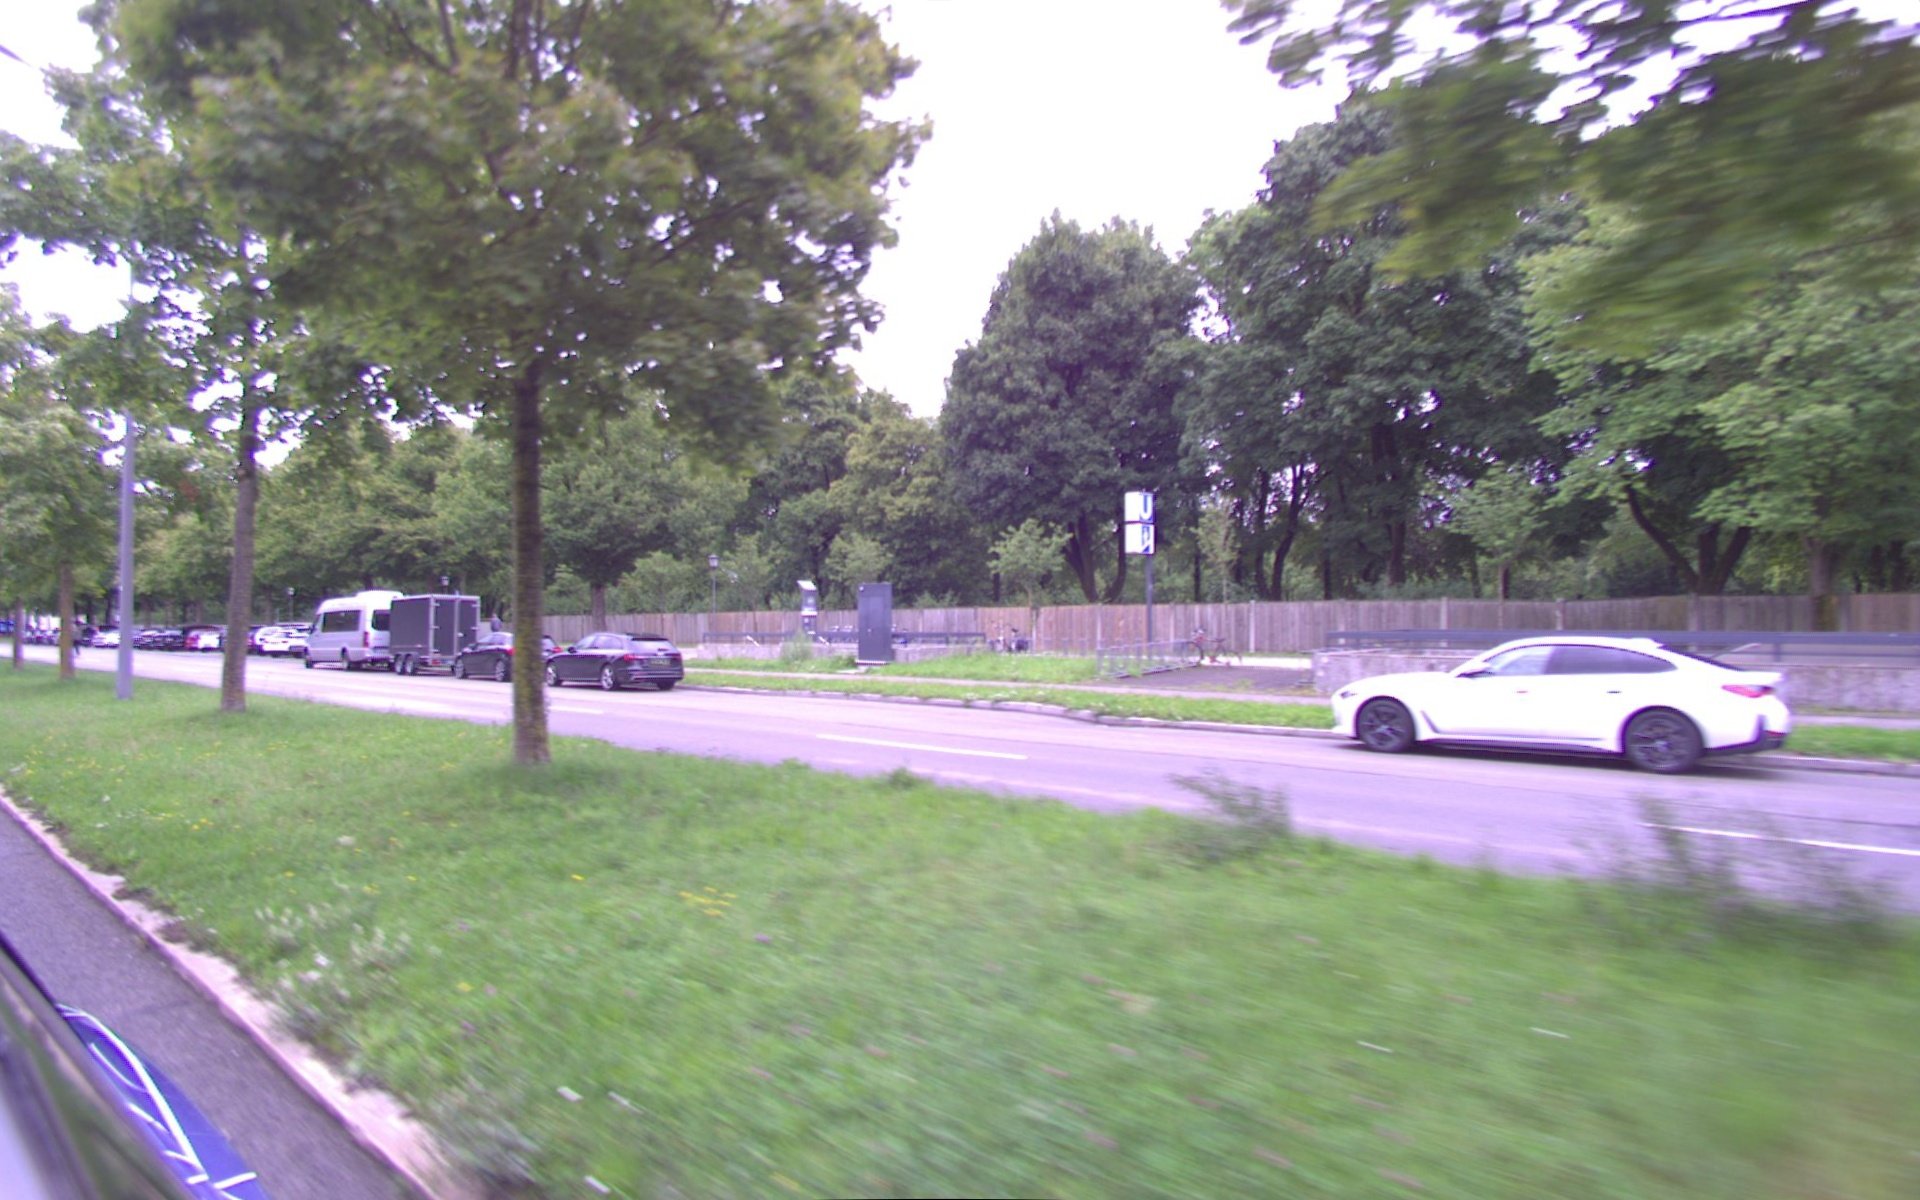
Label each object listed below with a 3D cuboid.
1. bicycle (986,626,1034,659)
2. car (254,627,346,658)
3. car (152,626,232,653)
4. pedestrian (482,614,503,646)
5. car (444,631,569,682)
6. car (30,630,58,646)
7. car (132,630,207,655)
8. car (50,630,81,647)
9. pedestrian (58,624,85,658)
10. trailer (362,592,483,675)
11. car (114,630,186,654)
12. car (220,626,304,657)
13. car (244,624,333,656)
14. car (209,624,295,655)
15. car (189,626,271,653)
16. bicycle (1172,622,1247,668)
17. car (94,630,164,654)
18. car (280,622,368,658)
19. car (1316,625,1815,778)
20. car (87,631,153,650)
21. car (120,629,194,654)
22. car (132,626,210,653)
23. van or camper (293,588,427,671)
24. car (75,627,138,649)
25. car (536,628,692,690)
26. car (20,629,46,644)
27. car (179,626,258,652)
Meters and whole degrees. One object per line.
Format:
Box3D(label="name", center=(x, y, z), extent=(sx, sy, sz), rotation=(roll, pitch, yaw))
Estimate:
Box3D(label="bicycle", center=(1.526, 1.260, 30.409), extent=(0.432, 0.937, 1.801), rotation=(-2, -1, 40))
Box3D(label="car", center=(-34.839, 2.223, 53.565), extent=(1.780, 1.449, 4.316), rotation=(-1, 0, 6))
Box3D(label="car", center=(-51.462, 2.643, 67.913), extent=(1.873, 1.569, 3.983), rotation=(-2, 0, 13))
Box3D(label="pedestrian", center=(-26.819, 1.711, 58.012), extent=(0.872, 1.781, 0.761), rotation=(-1, -2, 37))
Box3D(label="car", center=(-13.545, 1.650, 30.137), extent=(4.236, 1.394, 1.781), rotation=(-2, -3, 41))
Box3D(label="car", center=(-90.854, 3.721, 100.404), extent=(1.864, 1.454, 4.171), rotation=(-1, 0, -45))
Box3D(label="car", center=(-56.166, 3.006, 71.968), extent=(1.870, 1.569, 3.990), rotation=(-2, 0, 8))
Box3D(label="car", center=(-81.882, 3.507, 92.622), extent=(1.864, 1.454, 4.171), rotation=(-1, 0, -45))
Box3D(label="pedestrian", center=(-45.925, 2.124, 52.322), extent=(0.859, 1.711, 0.773), rotation=(1, -1, -29))
Box3D(label="trailer", center=(-18.010, 1.131, 33.825), extent=(4.656, 2.610, 1.995), rotation=(-2, -3, 41))
Box3D(label="car", center=(-60.941, 3.142, 76.229), extent=(1.870, 1.569, 3.990), rotation=(-2, 0, 8))
Box3D(label="car", center=(-39.858, 2.344, 57.913), extent=(1.779, 1.497, 3.992), rotation=(-2, 0, 6))
Box3D(label="car", center=(-37.280, 2.179, 56.343), extent=(1.780, 1.585, 4.316), rotation=(-1, 0, 6))
Box3D(label="car", center=(-41.927, 2.306, 60.028), extent=(1.783, 1.599, 3.985), rotation=(-2, 0, 12))
Box3D(label="car", center=(-46.438, 2.498, 64.507), extent=(1.873, 1.474, 3.983), rotation=(-2, 0, 13))
Box3D(label="bicycle", center=(6.215, 1.106, 25.254), extent=(1.825, 1.108, 0.427), rotation=(-2, -1, 42))
Box3D(label="car", center=(-65.324, 3.286, 79.617), extent=(1.870, 1.569, 3.990), rotation=(-2, 0, 8))
Box3D(label="car", center=(-32.342, 2.015, 51.611), extent=(1.779, 1.635, 3.994), rotation=(-1, 0, 5))
Box3D(label="car", center=(7.018, 1.071, 12.115), extent=(4.871, 1.484, 1.838), rotation=(-2, -3, 41))
Box3D(label="car", center=(-67.793, 3.269, 81.742), extent=(1.574, 1.376, 3.987), rotation=(-1, 0, 10))
Box3D(label="car", center=(-58.480, 3.026, 73.767), extent=(1.870, 1.569, 3.990), rotation=(-2, 0, 8))
Box3D(label="car", center=(-53.803, 2.688, 69.121), extent=(1.870, 1.569, 3.990), rotation=(-2, 0, 8))
Box3D(label="van or camper", center=(-22.538, 1.135, 37.837), extent=(7.543, 2.859, 2.014), rotation=(-2, -3, 41))
Box3D(label="car", center=(-72.684, 3.226, 86.209), extent=(1.760, 1.741, 3.992), rotation=(-1, 0, 6))
Box3D(label="car", center=(-8.888, 1.463, 25.825), extent=(4.429, 1.436, 1.781), rotation=(-2, -3, 41))
Box3D(label="car", center=(-97.068, 3.820, 105.944), extent=(1.864, 1.454, 4.171), rotation=(-1, 0, -45))
Box3D(label="car", center=(-48.697, 2.553, 66.553), extent=(1.723, 1.466, 3.983), rotation=(-2, 0, 13))
